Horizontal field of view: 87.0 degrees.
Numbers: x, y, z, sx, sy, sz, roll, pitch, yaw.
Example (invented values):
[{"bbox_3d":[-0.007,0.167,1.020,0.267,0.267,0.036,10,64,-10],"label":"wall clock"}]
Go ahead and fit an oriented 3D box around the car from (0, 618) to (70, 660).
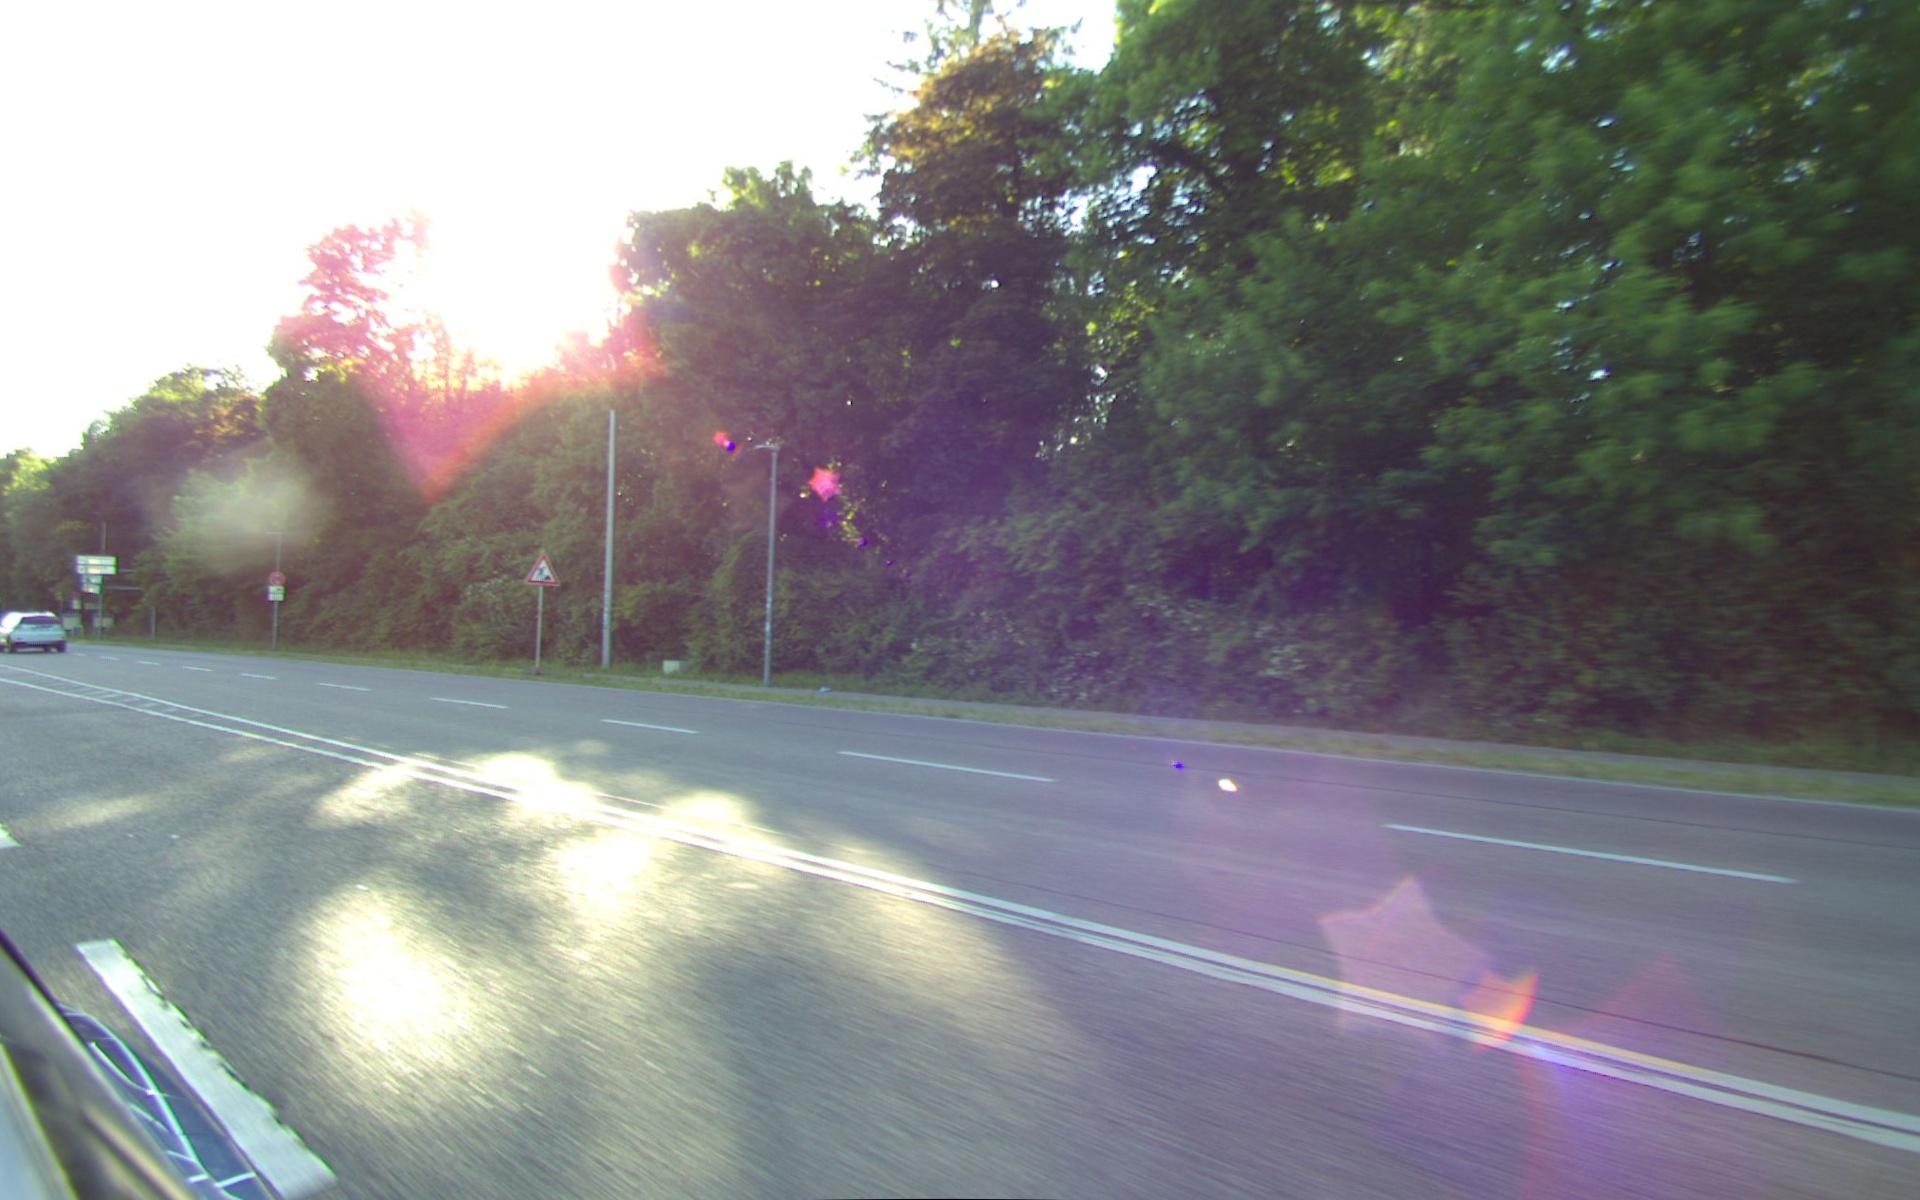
[{"bbox_3d":[-39.575,1.607,42.940,4.727,1.676,1.890,-1,-1,38],"label":"car"}]
